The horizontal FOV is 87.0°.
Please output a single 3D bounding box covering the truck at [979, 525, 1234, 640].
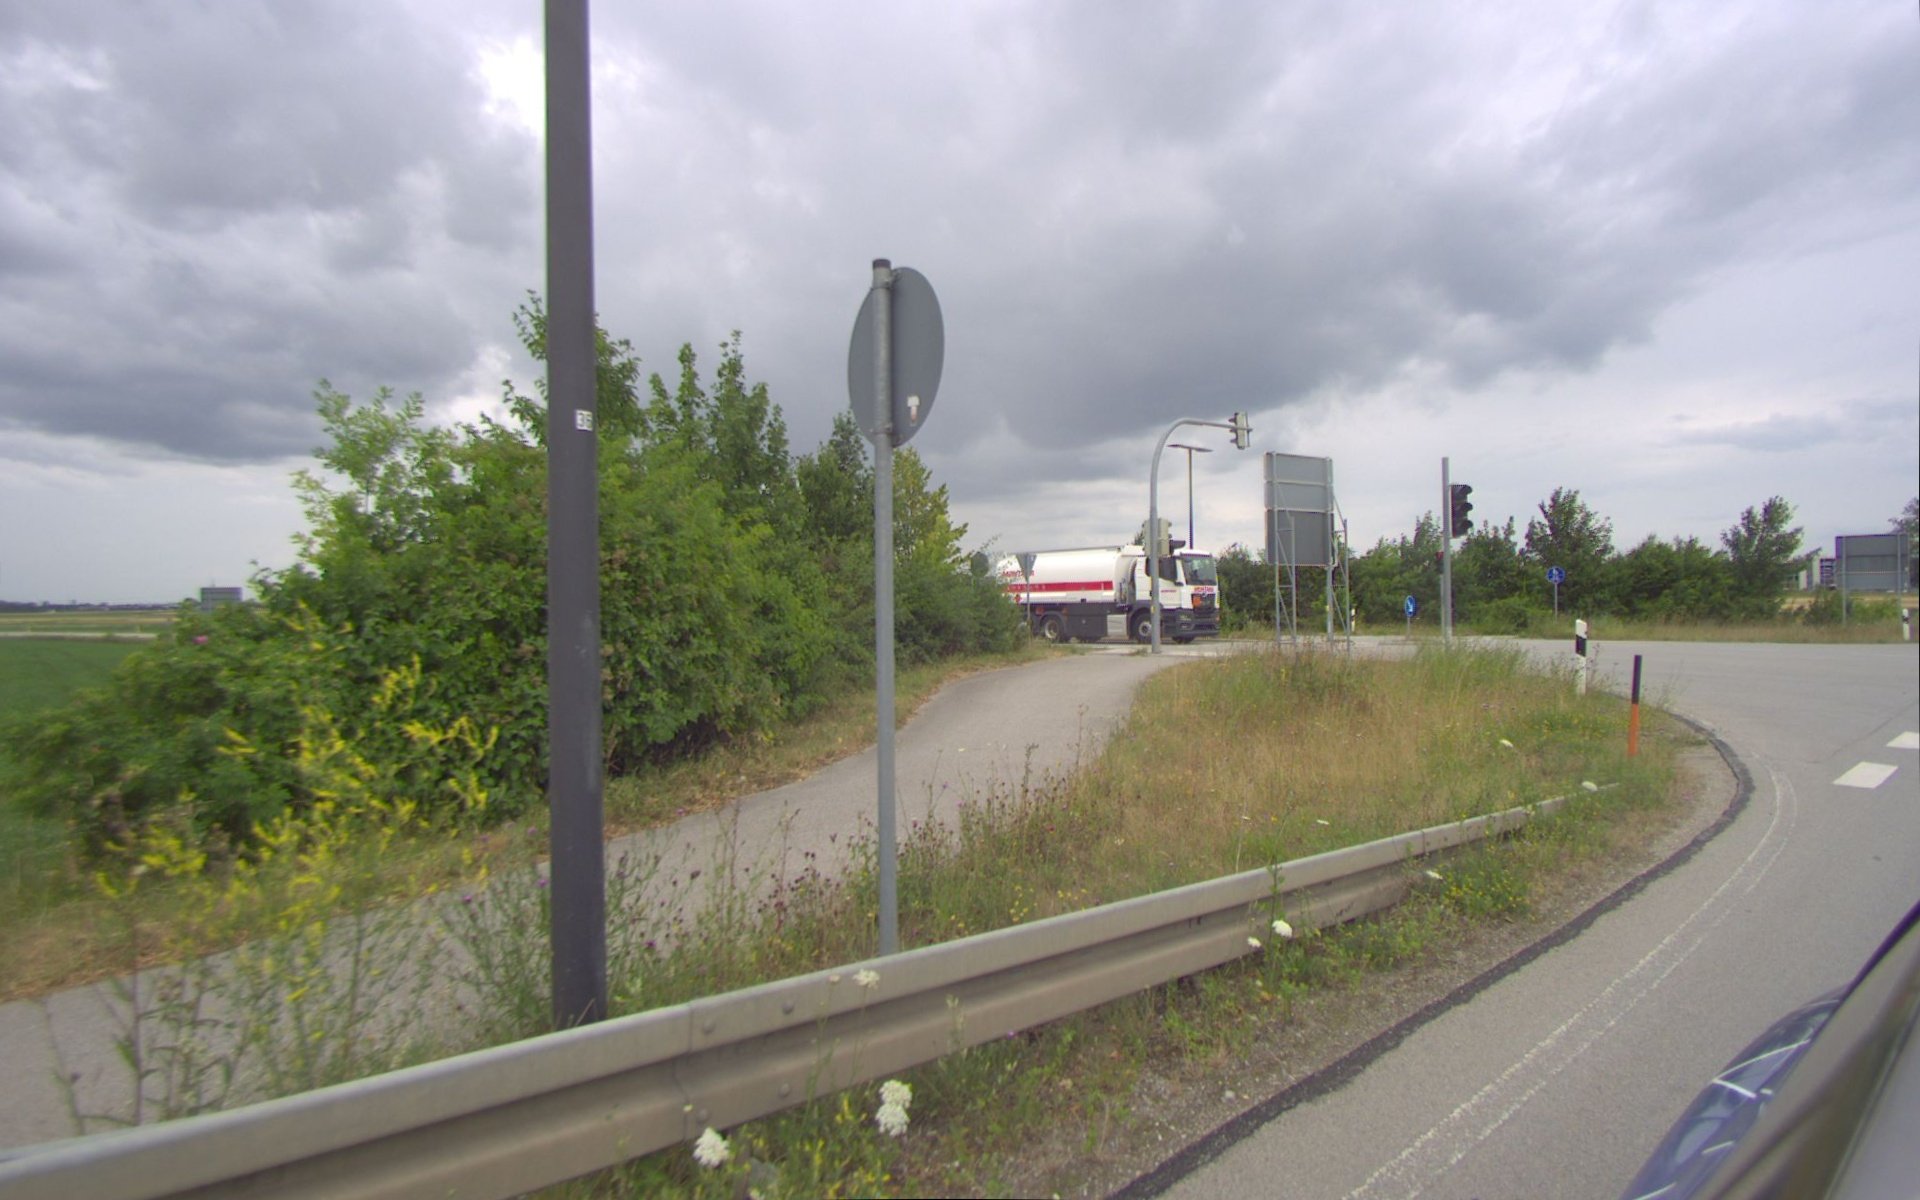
[{"bbox_3d":[4.730,-0.492,34.531,2.833,3.451,8.624,-1,0,-45],"label":"truck"}]
